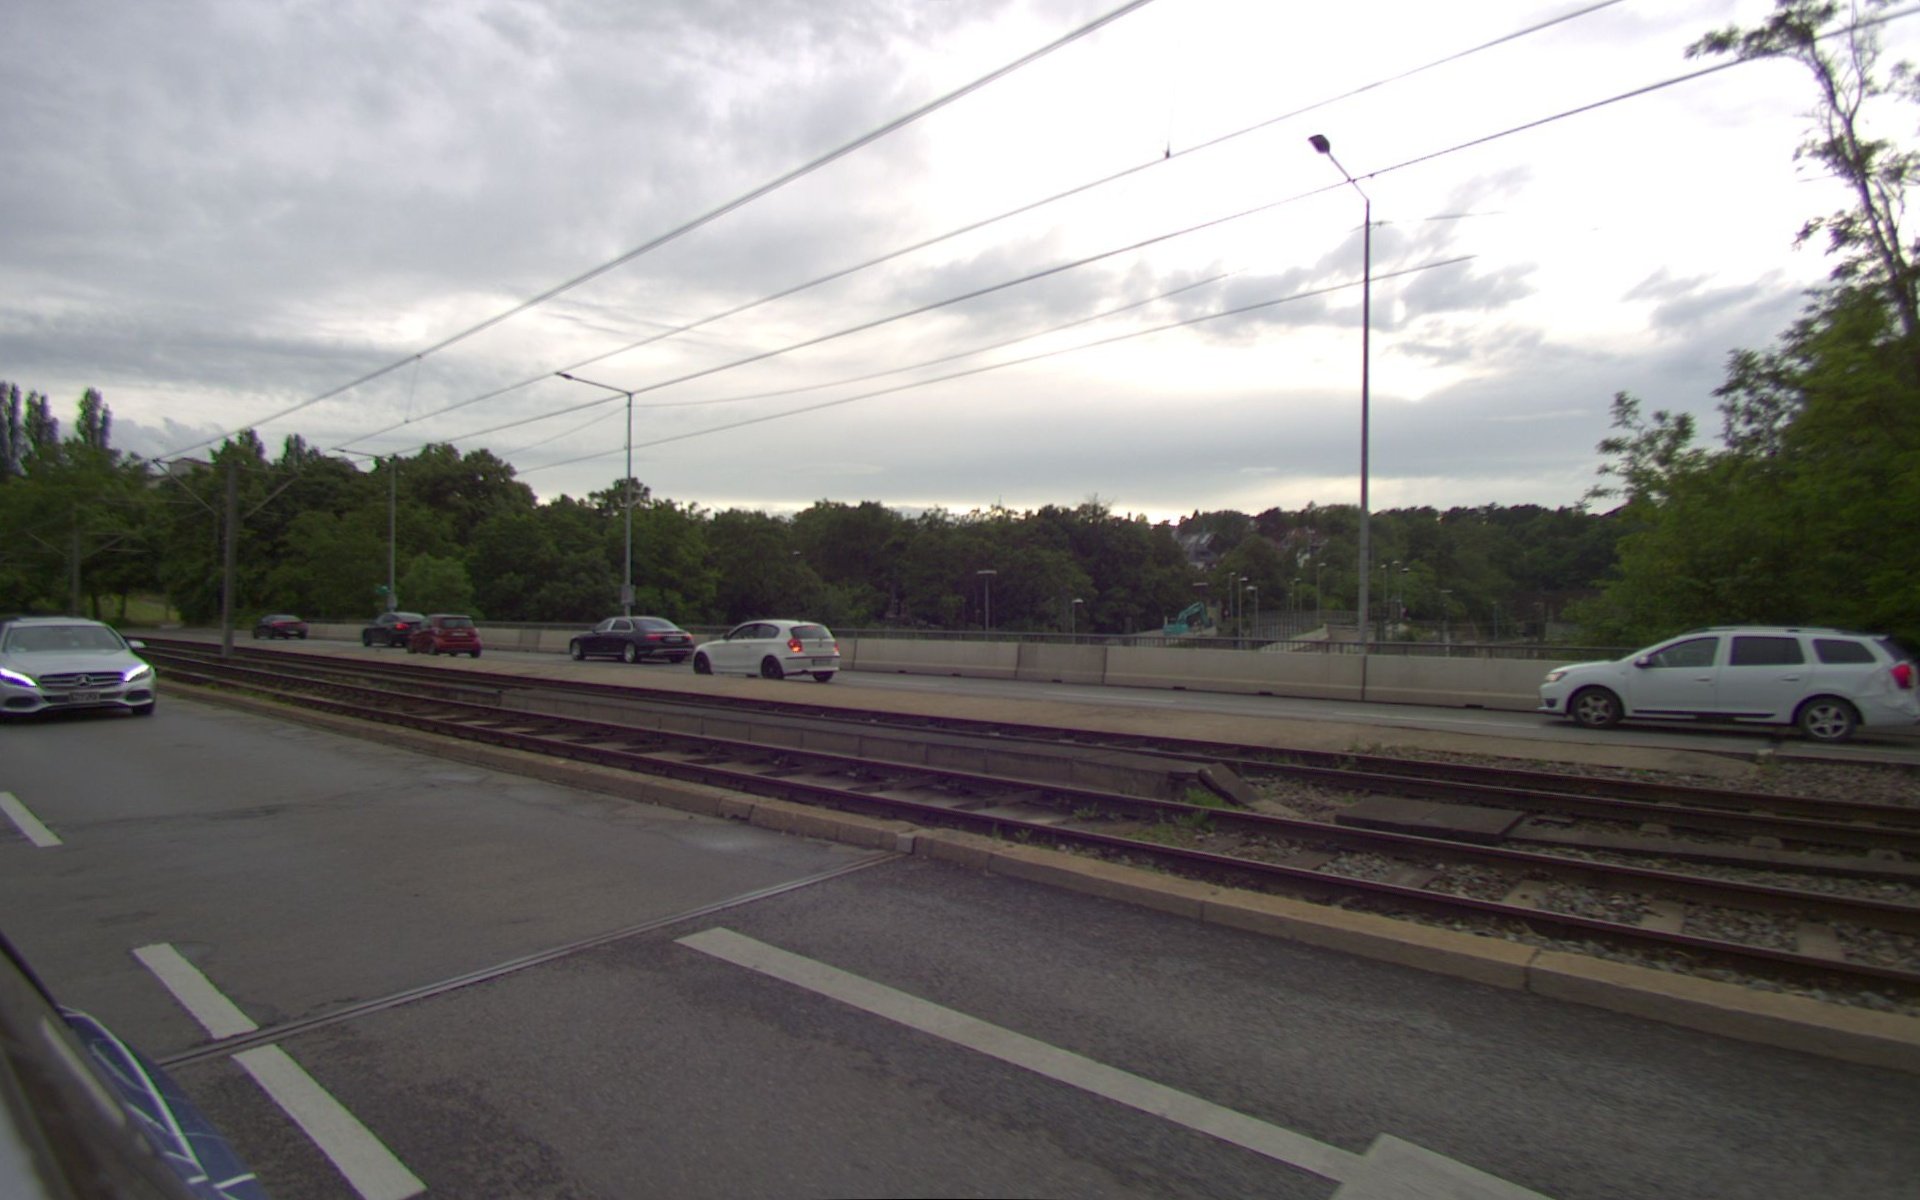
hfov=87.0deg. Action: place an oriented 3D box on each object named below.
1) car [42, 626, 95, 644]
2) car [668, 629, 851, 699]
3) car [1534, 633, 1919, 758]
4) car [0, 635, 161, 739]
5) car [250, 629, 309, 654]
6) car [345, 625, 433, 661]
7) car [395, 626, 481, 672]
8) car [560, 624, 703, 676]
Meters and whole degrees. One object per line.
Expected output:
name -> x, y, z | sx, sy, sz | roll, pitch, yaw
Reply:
car -> -74.785, 2.961, 84.858 | 4.597, 1.324, 1.825 | -2, -1, 28
car -> -4.788, 1.452, 23.848 | 4.486, 1.448, 1.713 | -1, -3, 38
car -> 10.933, 1.245, 14.480 | 4.523, 1.526, 1.803 | -1, -2, 38
car -> -13.608, 1.219, 15.215 | 4.059, 1.366, 1.847 | -2, -3, 42
car -> -40.451, 2.449, 60.106 | 4.739, 1.447, 1.797 | -2, -3, 42
car -> -26.457, 1.998, 46.853 | 4.726, 1.609, 1.878 | -2, -4, 38
car -> -18.586, 1.727, 36.010 | 3.014, 1.504, 1.585 | 0, -2, 38
car -> -10.937, 1.663, 33.534 | 5.178, 1.609, 1.950 | -2, -4, 38
